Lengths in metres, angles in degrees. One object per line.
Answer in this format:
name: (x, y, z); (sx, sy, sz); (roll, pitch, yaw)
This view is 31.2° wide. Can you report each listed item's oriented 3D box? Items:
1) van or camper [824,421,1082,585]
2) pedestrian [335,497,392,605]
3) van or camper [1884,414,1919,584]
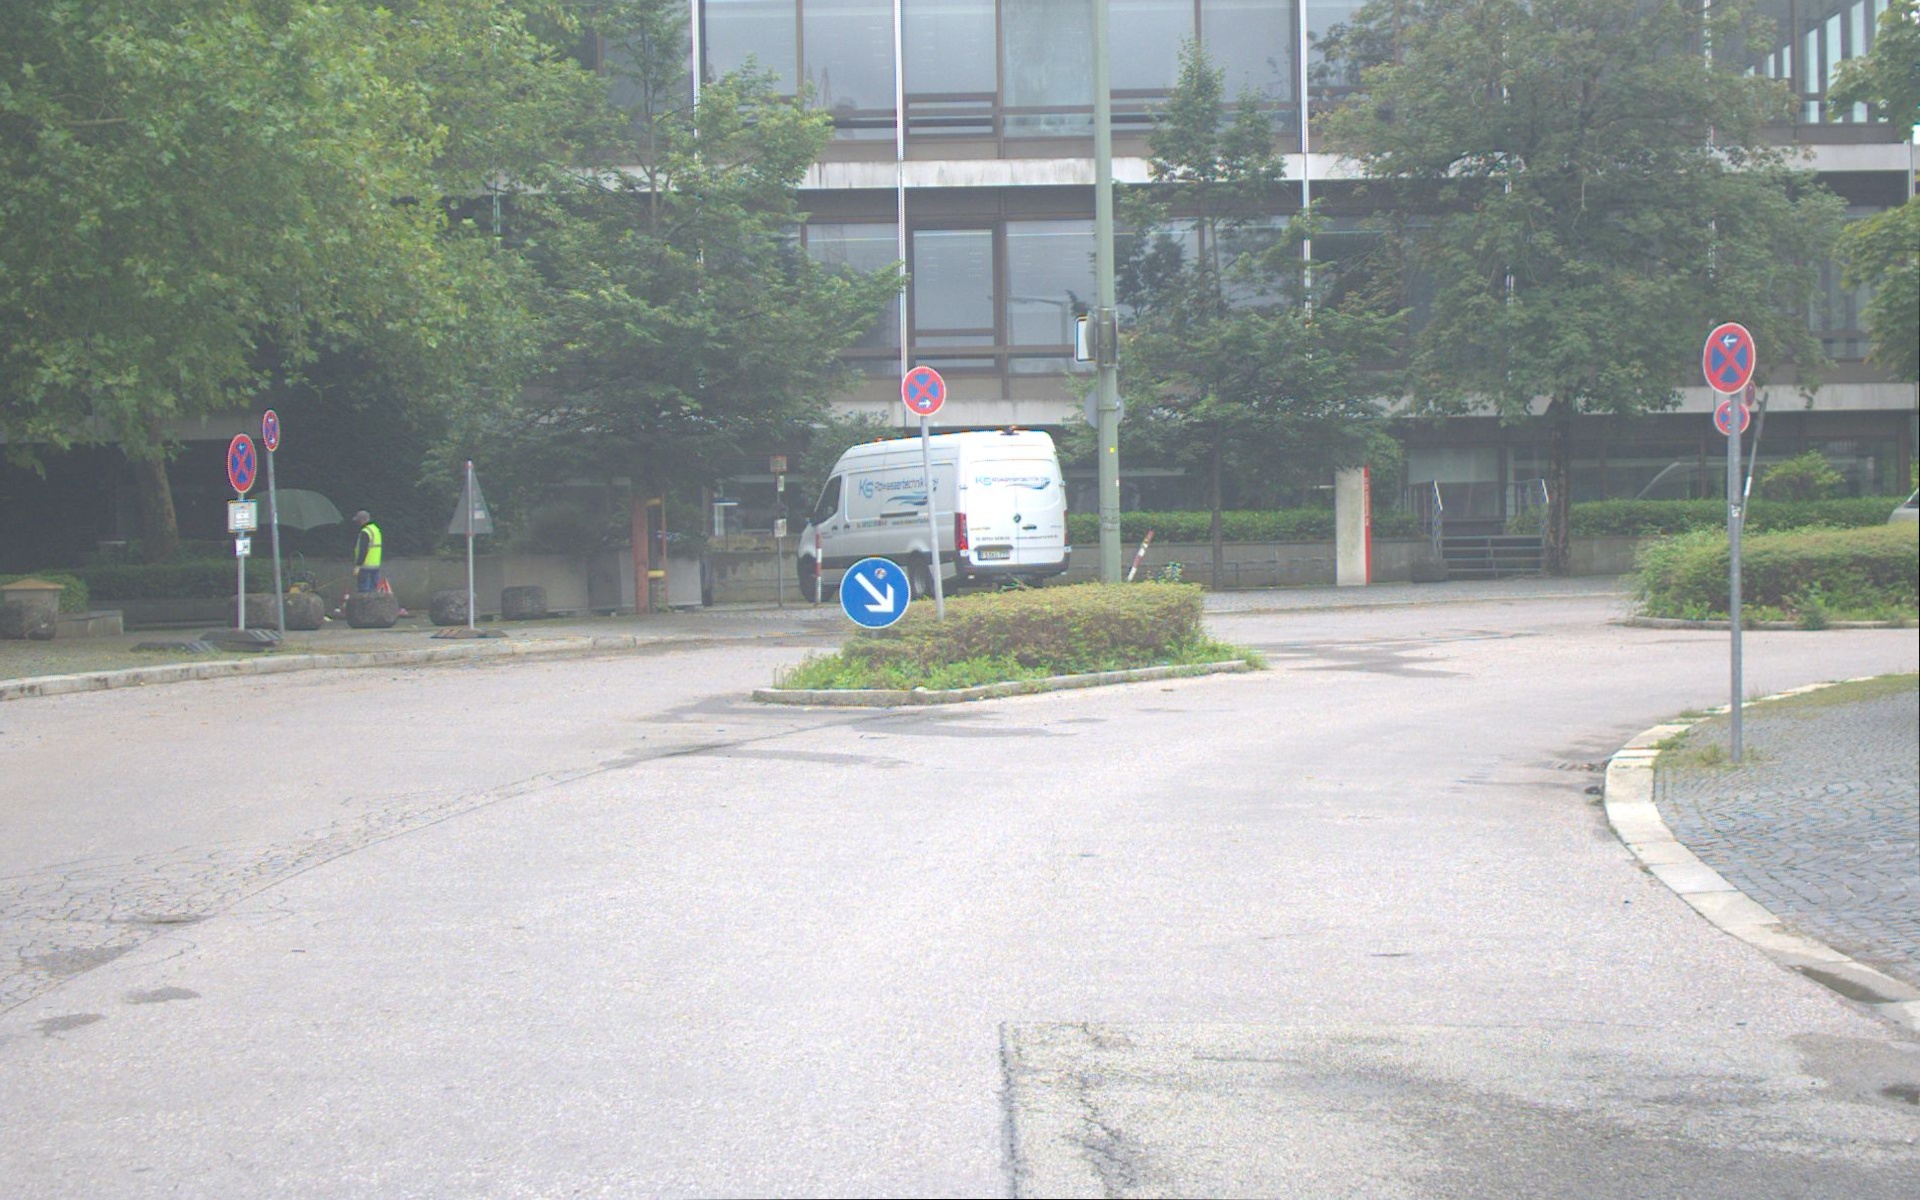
van or camper: (-0.178, -1.544, 55.094); (2.085, 2.483, 5.068); (-2, 2, -26)
pedestrian: (-9.348, -0.771, 53.830); (0.741, 1.671, 0.682); (-1, 1, -20)
van or camper: (16.712, -1.577, 52.637); (4.449, 2.576, 2.109); (-1, 1, -11)
